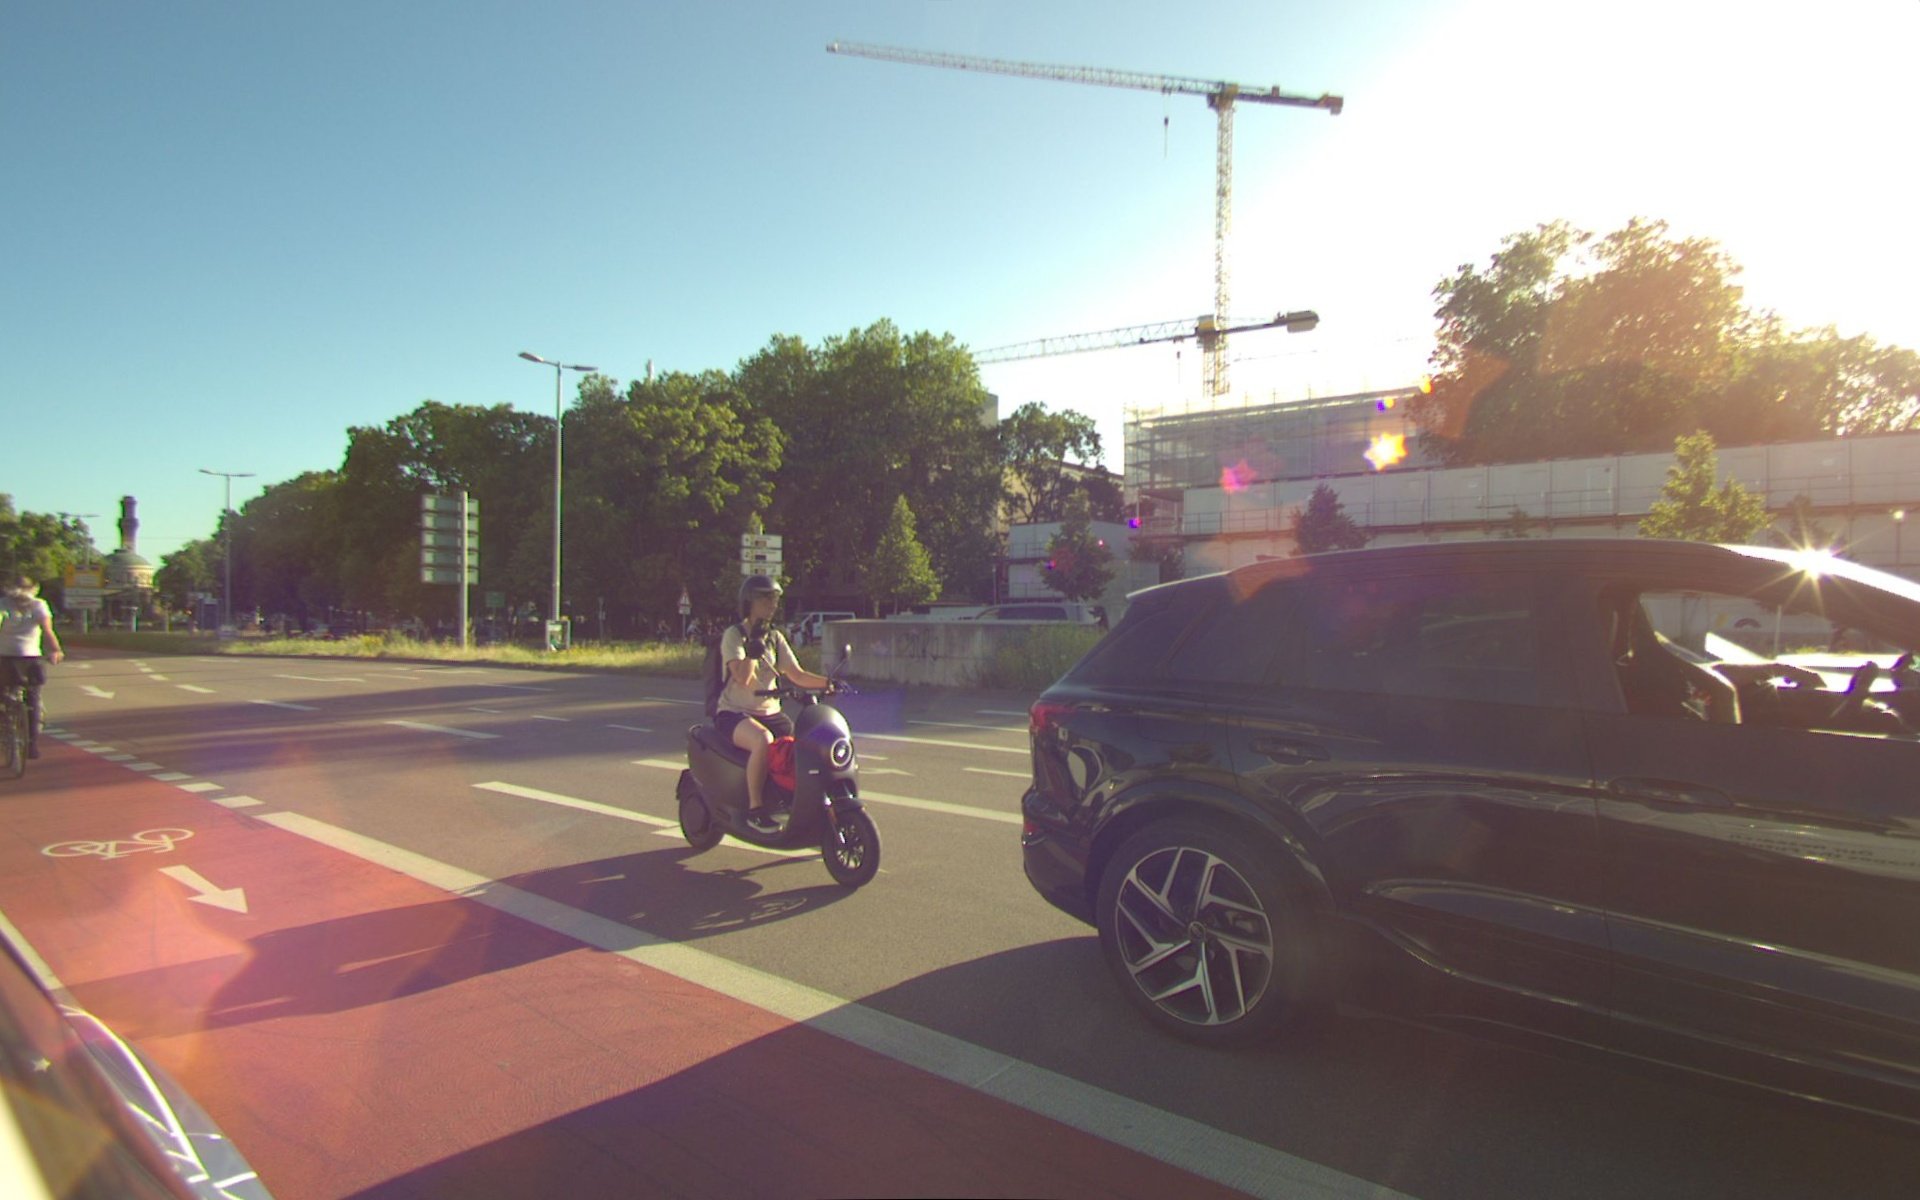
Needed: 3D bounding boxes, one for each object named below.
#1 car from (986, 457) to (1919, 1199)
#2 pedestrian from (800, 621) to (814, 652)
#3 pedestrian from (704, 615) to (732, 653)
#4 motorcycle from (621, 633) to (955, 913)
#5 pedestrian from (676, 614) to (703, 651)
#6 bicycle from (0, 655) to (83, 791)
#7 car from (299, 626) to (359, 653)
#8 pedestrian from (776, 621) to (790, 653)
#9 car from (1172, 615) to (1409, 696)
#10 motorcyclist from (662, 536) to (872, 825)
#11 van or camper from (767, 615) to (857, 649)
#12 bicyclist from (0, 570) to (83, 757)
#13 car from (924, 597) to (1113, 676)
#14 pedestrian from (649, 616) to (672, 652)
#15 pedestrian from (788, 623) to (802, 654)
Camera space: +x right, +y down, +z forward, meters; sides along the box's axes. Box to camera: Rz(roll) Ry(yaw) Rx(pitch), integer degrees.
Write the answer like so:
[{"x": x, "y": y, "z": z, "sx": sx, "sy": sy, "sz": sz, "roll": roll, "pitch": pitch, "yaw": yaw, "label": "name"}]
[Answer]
[{"x": 2.576, "y": 0.550, "z": 3.184, "sx": 4.660, "sy": 1.720, "sz": 2.144, "roll": -1, "pitch": -1, "yaw": 39, "label": "car"}, {"x": -7.556, "y": 1.795, "z": 50.097, "sx": 0.494, "sy": 1.522, "sz": 0.492, "roll": -1, "pitch": -2, "yaw": 41, "label": "pedestrian"}, {"x": -12.702, "y": 1.774, "z": 53.130, "sx": 0.815, "sy": 1.978, "sz": 1.111, "roll": -1, "pitch": 0, "yaw": 41, "label": "pedestrian"}, {"x": -1.019, "y": 0.842, "z": 5.697, "sx": 1.943, "sy": 1.290, "sz": 0.817, "roll": -1, "pitch": -2, "yaw": 41, "label": "motorcycle"}, {"x": -14.731, "y": 1.747, "z": 55.140, "sx": 1.054, "sy": 1.978, "sz": 0.942, "roll": -1, "pitch": 0, "yaw": 26, "label": "pedestrian"}, {"x": -9.057, "y": 1.128, "z": 9.694, "sx": 1.890, "sy": 1.156, "sz": 0.731, "roll": -1, "pitch": -2, "yaw": 41, "label": "bicycle"}, {"x": -36.404, "y": 2.250, "z": 58.367, "sx": 3.979, "sy": 1.492, "sz": 1.857, "roll": -1, "pitch": -2, "yaw": 41, "label": "car"}, {"x": -8.497, "y": 1.769, "z": 48.597, "sx": 0.494, "sy": 1.522, "sz": 0.492, "roll": -1, "pitch": -2, "yaw": 41, "label": "pedestrian"}, {"x": 6.200, "y": 0.997, "z": 19.211, "sx": 3.941, "sy": 1.387, "sz": 1.705, "roll": -1, "pitch": -2, "yaw": 41, "label": "car"}, {"x": -1.099, "y": 0.423, "z": 5.776, "sx": 0.877, "sy": 1.475, "sz": 0.813, "roll": -1, "pitch": -2, "yaw": 41, "label": "motorcyclist"}, {"x": -8.966, "y": 1.928, "z": 61.889, "sx": 1.951, "sy": 1.960, "sz": 5.425, "roll": -2, "pitch": -2, "yaw": 44, "label": "van or camper"}, {"x": -9.032, "y": 0.595, "z": 9.707, "sx": 0.851, "sy": 1.713, "sz": 0.797, "roll": -1, "pitch": -2, "yaw": 41, "label": "bicyclist"}, {"x": 1.490, "y": 0.963, "z": 27.103, "sx": 4.925, "sy": 1.937, "sz": 1.863, "roll": -1, "pitch": -2, "yaw": 39, "label": "car"}, {"x": -16.914, "y": 1.914, "z": 57.187, "sx": 0.948, "sy": 2.029, "sz": 0.836, "roll": -1, "pitch": 0, "yaw": 15, "label": "pedestrian"}, {"x": -8.058, "y": 1.888, "z": 49.502, "sx": 0.494, "sy": 1.522, "sz": 0.492, "roll": -1, "pitch": -2, "yaw": 41, "label": "pedestrian"}]
